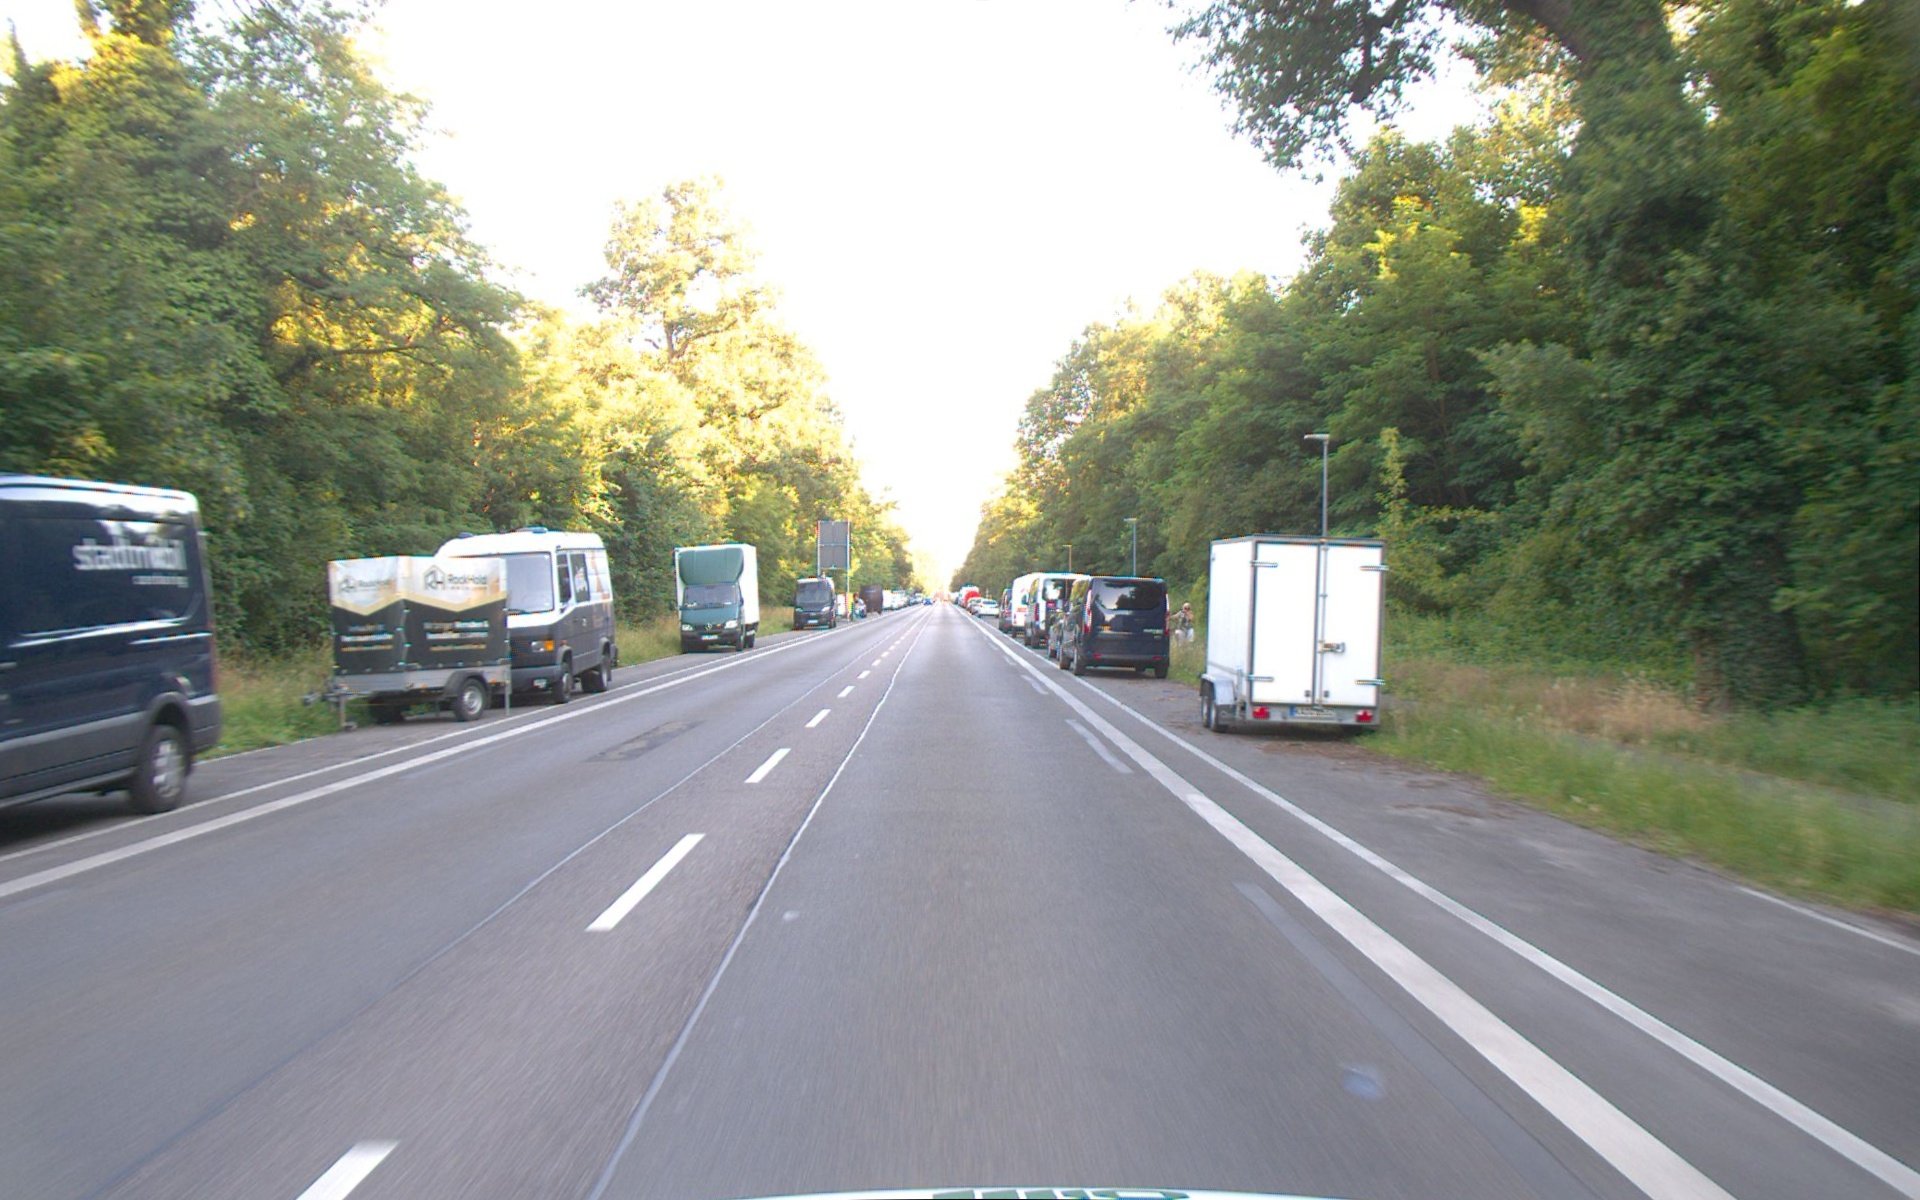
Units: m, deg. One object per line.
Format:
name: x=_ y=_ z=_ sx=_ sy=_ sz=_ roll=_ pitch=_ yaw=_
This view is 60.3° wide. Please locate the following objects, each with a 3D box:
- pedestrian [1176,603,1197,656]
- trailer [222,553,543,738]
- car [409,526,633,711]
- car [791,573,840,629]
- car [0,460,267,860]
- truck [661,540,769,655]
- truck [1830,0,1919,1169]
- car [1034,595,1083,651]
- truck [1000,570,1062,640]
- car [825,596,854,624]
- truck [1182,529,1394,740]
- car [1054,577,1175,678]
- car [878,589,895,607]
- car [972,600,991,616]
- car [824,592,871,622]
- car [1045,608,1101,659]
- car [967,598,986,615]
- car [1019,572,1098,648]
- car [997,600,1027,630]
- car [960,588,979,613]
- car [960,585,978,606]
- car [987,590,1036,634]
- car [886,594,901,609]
pedestrian: x=6.356 y=0.827 z=46.426 sx=0.456 sy=1.442 sz=0.717 roll=-1 pitch=-1 yaw=-1
trailer: x=-7.468 y=0.539 z=21.801 sx=1.922 sy=2.193 sz=3.930 roll=-1 pitch=0 yaw=20
car: x=-7.066 y=0.265 z=27.337 sx=2.203 sy=2.694 sz=5.720 roll=-1 pitch=0 yaw=-1
car: x=-7.614 y=0.062 z=87.550 sx=2.142 sy=2.837 sz=5.333 roll=-1 pitch=0 yaw=-1
car: x=-6.781 y=0.397 z=10.915 sx=1.953 sy=2.405 sz=5.764 roll=-3 pitch=0 yaw=-1
truck: x=-7.721 y=-0.100 z=52.903 sx=2.453 sy=3.387 sz=6.840 roll=-1 pitch=0 yaw=-1
truck: x=3.793 y=-0.143 z=1.237 sx=2.535 sy=3.312 sz=7.221 roll=1 pitch=0 yaw=1
car: x=2.895 y=0.659 z=48.772 sx=1.124 sy=1.573 sz=2.752 roll=1 pitch=0 yaw=-3
truck: x=2.868 y=0.209 z=67.478 sx=2.099 sy=2.706 sz=4.297 roll=1 pitch=0 yaw=-3
car: x=-7.904 y=0.628 z=108.825 sx=1.736 sy=1.701 sz=3.998 roll=2 pitch=0 yaw=-3
truck: x=3.958 y=0.398 z=20.642 sx=1.846 sy=2.323 sz=4.300 roll=1 pitch=0 yaw=1
car: x=3.207 y=0.554 z=35.129 sx=1.954 sy=1.989 sz=4.297 roll=1 pitch=0 yaw=-3
car: x=-8.679 y=-0.233 z=195.113 sx=1.954 sy=2.049 sz=3.997 roll=0 pitch=-1 yaw=-3
car: x=1.693 y=0.625 z=132.344 sx=1.398 sy=1.243 sz=3.411 roll=-2 pitch=0 yaw=-1
car: x=-7.952 y=0.479 z=117.180 sx=1.665 sy=2.049 sz=3.999 roll=2 pitch=0 yaw=23
car: x=2.941 y=0.868 z=43.423 sx=1.124 sy=1.274 sz=2.752 roll=1 pitch=0 yaw=-3
car: x=1.473 y=0.584 z=150.077 sx=1.612 sy=1.512 sz=3.999 roll=1 pitch=0 yaw=-1
car: x=3.179 y=0.333 z=54.394 sx=2.099 sy=2.354 sz=4.297 roll=1 pitch=0 yaw=-3
car: x=2.289 y=0.656 z=73.299 sx=1.124 sy=1.274 sz=2.752 roll=1 pitch=0 yaw=-3
car: x=1.256 y=0.012 z=214.284 sx=2.267 sy=3.147 sz=5.638 roll=1 pitch=0 yaw=-1
car: x=1.422 y=-0.718 z=257.837 sx=2.686 sy=3.174 sz=5.738 roll=0 pitch=-1 yaw=-1
car: x=2.412 y=0.559 z=78.425 sx=1.954 sy=1.989 sz=4.297 roll=1 pitch=0 yaw=-3
car: x=-9.373 y=0.233 z=233.245 sx=1.952 sy=2.049 sz=4.000 roll=-1 pitch=0 yaw=0
